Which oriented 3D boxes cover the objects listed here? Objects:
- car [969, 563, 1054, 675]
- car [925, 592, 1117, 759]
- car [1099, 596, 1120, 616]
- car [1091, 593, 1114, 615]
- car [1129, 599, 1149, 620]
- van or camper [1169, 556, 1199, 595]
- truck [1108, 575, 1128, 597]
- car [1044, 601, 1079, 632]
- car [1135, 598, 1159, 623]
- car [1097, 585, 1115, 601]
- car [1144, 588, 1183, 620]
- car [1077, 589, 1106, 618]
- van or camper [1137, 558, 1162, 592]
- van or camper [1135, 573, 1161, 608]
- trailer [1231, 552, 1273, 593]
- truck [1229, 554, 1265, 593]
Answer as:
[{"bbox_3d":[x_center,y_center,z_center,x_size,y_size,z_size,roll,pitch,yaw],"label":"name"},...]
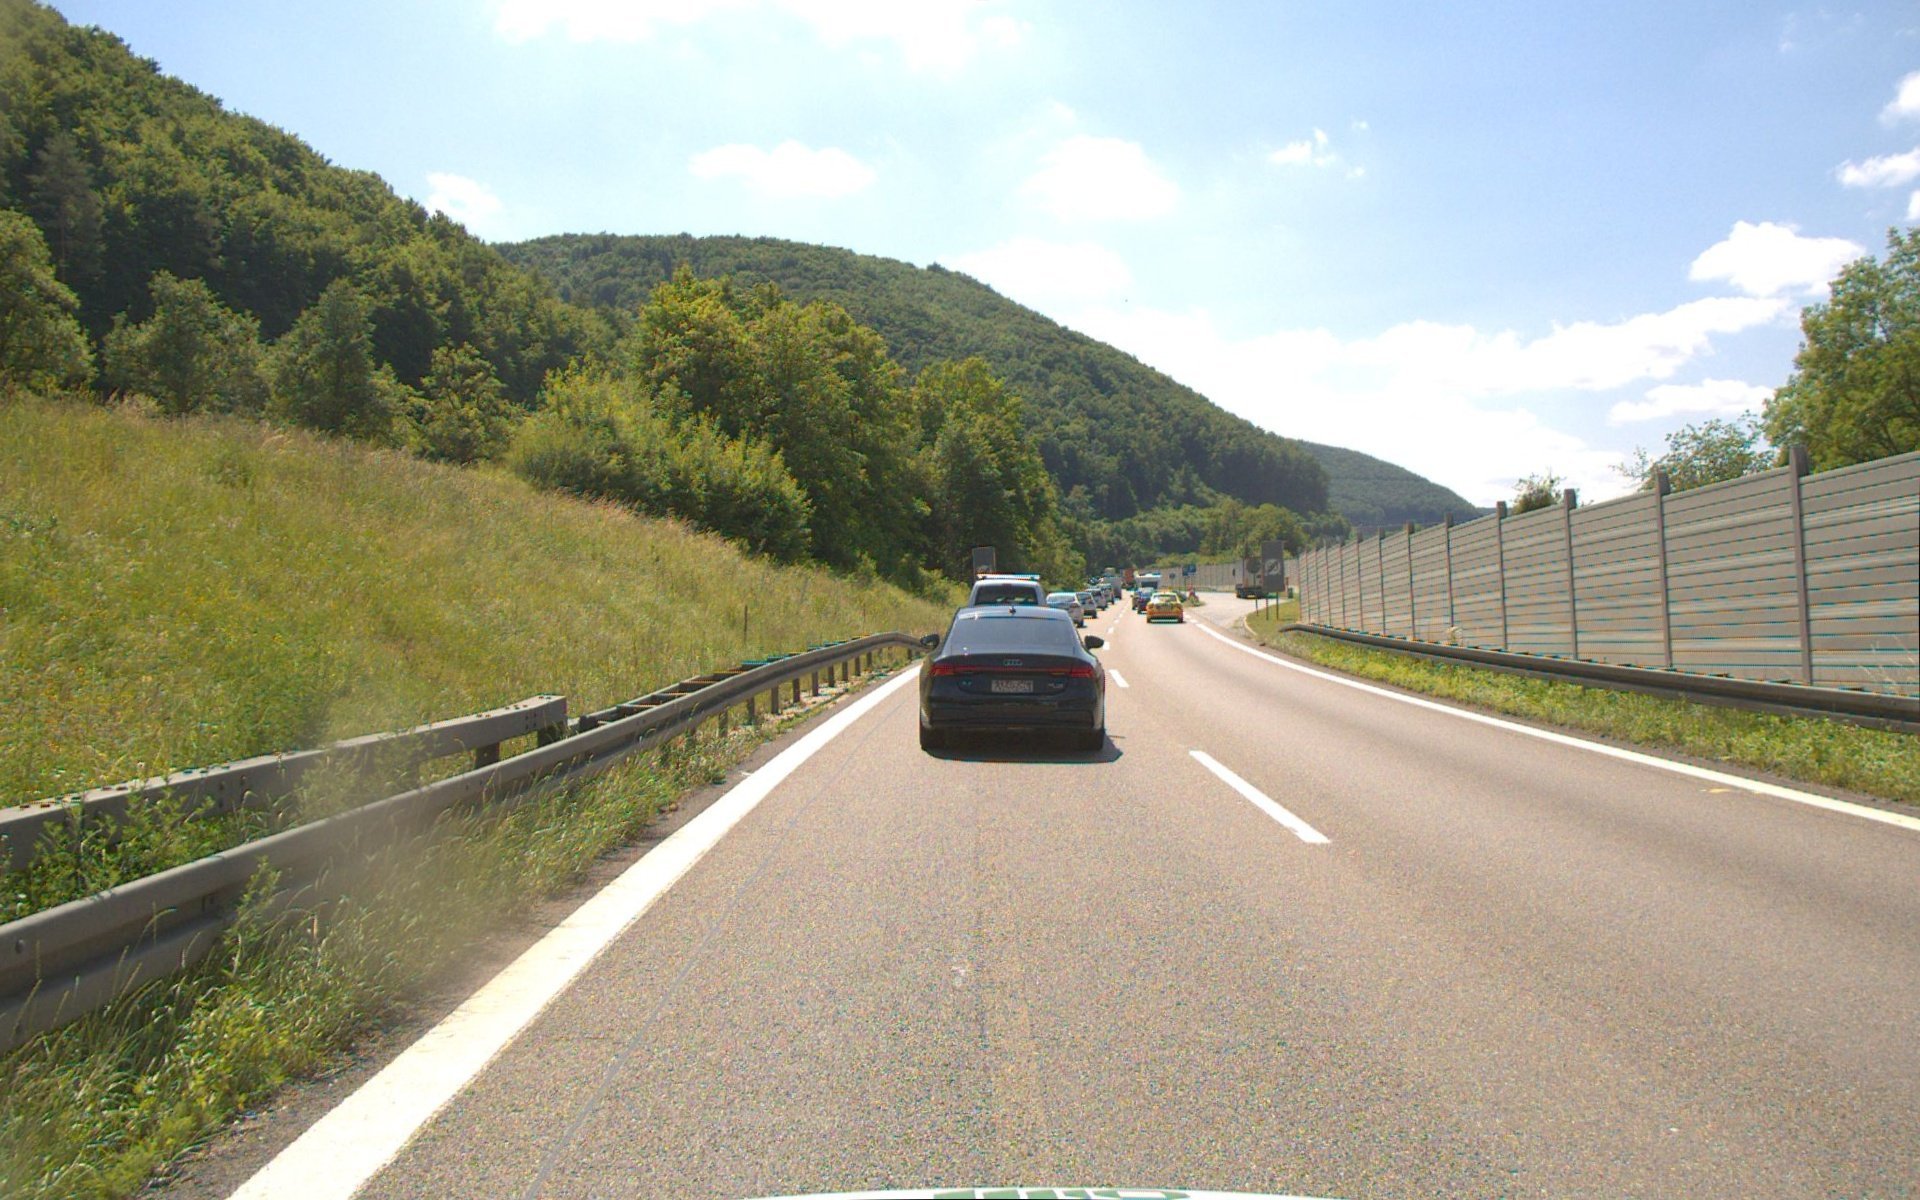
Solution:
[{"bbox_3d":[0.981,0.336,31.972,1.489,2.002,3.515,2,0,1],"label":"car"},{"bbox_3d":[0.540,0.699,17.247,1.775,1.541,3.513,1,0,-1],"label":"car"},{"bbox_3d":[12.832,0.508,141.971,1.489,1.580,3.517,2,0,9],"label":"car"},{"bbox_3d":[10.851,0.289,125.654,1.489,1.580,3.517,2,0,8],"label":"car"},{"bbox_3d":[13.621,0.693,125.943,1.497,1.552,3.599,1,0,6],"label":"car"},{"bbox_3d":[23.710,-2.547,175.447,2.736,3.908,6.170,1,0,4],"label":"van or camper"},{"bbox_3d":[19.518,-1.680,204.162,2.020,2.651,5.618,2,0,8],"label":"truck"},{"bbox_3d":[4.444,0.717,72.349,1.489,1.317,3.516,1,0,4],"label":"car"},{"bbox_3d":[11.862,0.656,104.939,1.497,1.552,3.599,1,0,6],"label":"car"},{"bbox_3d":[14.264,-0.681,161.686,1.489,1.580,3.517,2,0,8],"label":"car"},{"bbox_3d":[9.985,0.164,81.423,1.839,1.525,4.003,-1,0,7],"label":"car"},{"bbox_3d":[7.560,0.174,94.969,1.489,1.580,3.517,2,0,7],"label":"car"},{"bbox_3d":[22.803,-2.988,199.035,2.736,3.975,6.170,1,0,4],"label":"van or camper"},{"bbox_3d":[17.425,-0.848,153.432,2.378,3.210,5.207,1,0,6],"label":"van or camper"},{"bbox_3d":[29.143,-2.701,165.660,3.339,3.968,11.159,-1,0,6],"label":"trailer"},{"bbox_3d":[29.638,-2.741,171.035,3.339,3.968,5.391,-1,0,6],"label":"truck"}]
